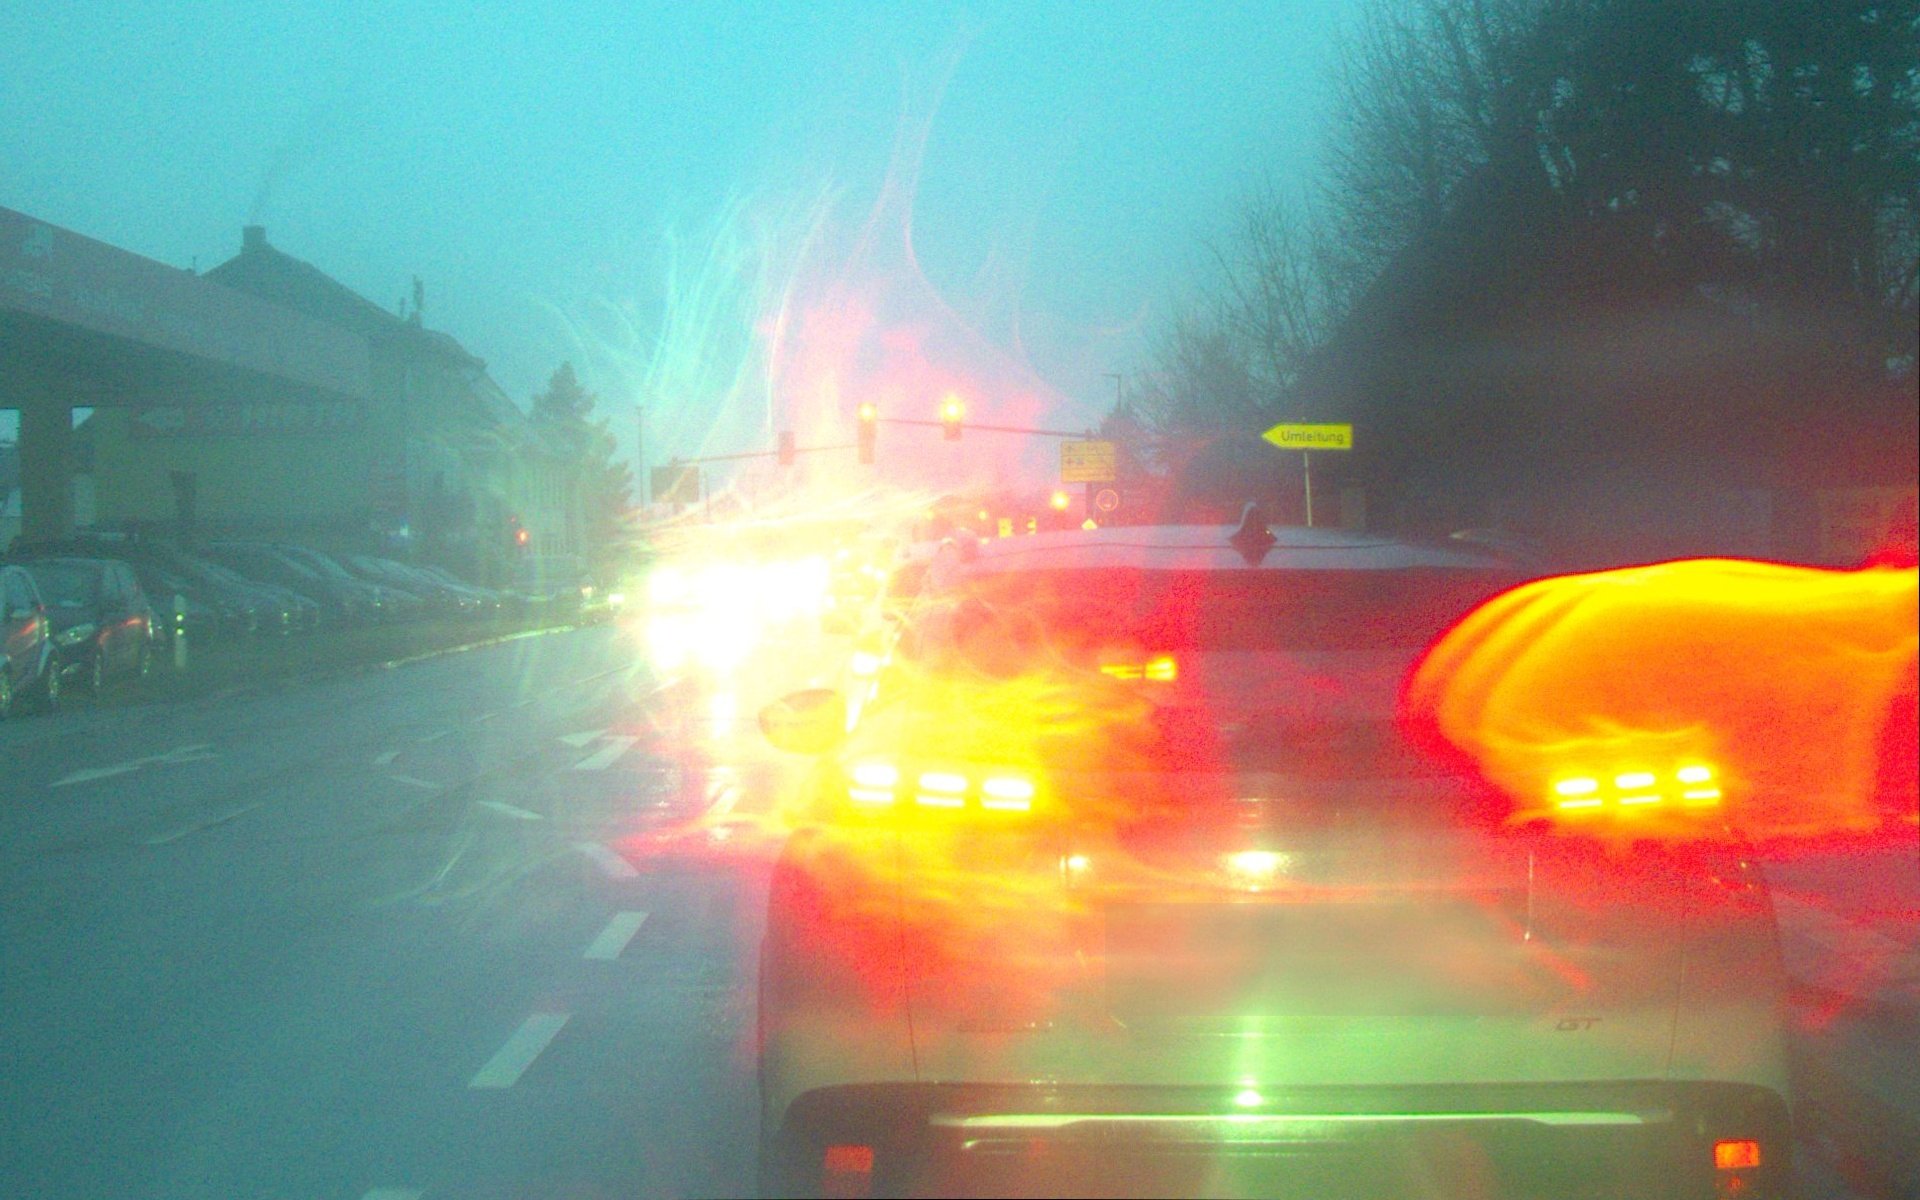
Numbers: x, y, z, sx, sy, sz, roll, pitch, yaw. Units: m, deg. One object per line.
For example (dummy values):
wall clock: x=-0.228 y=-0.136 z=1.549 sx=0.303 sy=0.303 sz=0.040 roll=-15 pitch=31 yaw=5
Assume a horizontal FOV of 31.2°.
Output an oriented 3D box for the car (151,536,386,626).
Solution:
car: x=-13.825 y=-0.391 z=68.940 sx=4.276 sy=1.657 sz=2.000 roll=2 pitch=1 yaw=0

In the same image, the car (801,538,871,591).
car: x=-3.929 y=-1.133 z=108.376 sx=2.047 sy=1.567 sz=4.703 roll=-2 pitch=1 yaw=-3

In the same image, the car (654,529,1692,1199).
car: x=0.319 y=0.626 z=7.212 sx=1.565 sy=1.524 sz=4.007 roll=0 pitch=1 yaw=0

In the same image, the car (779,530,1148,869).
car: x=0.011 y=0.427 z=18.399 sx=1.708 sy=1.570 sz=4.464 roll=-1 pitch=1 yaw=0

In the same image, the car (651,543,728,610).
car: x=-6.626 y=-0.602 z=84.528 sx=1.603 sy=1.529 sz=4.000 roll=-3 pitch=1 yaw=-1

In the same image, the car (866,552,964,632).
car: x=-0.780 y=-0.164 z=60.847 sx=1.653 sy=1.331 sz=4.272 roll=-1 pitch=1 yaw=0

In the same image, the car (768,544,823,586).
car: x=-7.249 y=-1.564 z=151.479 sx=1.994 sy=1.740 sz=4.000 roll=-2 pitch=1 yaw=3

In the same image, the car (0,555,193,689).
car: x=-10.042 y=0.219 z=39.130 sx=1.682 sy=1.416 sz=3.740 roll=-1 pitch=1 yaw=1

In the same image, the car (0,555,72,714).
car: x=-10.149 y=0.347 z=34.797 sx=1.518 sy=1.537 sz=3.015 roll=-2 pitch=1 yaw=-1

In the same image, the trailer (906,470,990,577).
trailer: x=-0.435 y=-2.376 z=109.863 sx=2.488 sy=3.229 sz=10.869 roll=0 pitch=1 yaw=-1

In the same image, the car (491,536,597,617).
car: x=-9.997 y=-0.594 z=82.892 sx=1.970 sy=1.824 sz=4.513 roll=-2 pitch=1 yaw=0
